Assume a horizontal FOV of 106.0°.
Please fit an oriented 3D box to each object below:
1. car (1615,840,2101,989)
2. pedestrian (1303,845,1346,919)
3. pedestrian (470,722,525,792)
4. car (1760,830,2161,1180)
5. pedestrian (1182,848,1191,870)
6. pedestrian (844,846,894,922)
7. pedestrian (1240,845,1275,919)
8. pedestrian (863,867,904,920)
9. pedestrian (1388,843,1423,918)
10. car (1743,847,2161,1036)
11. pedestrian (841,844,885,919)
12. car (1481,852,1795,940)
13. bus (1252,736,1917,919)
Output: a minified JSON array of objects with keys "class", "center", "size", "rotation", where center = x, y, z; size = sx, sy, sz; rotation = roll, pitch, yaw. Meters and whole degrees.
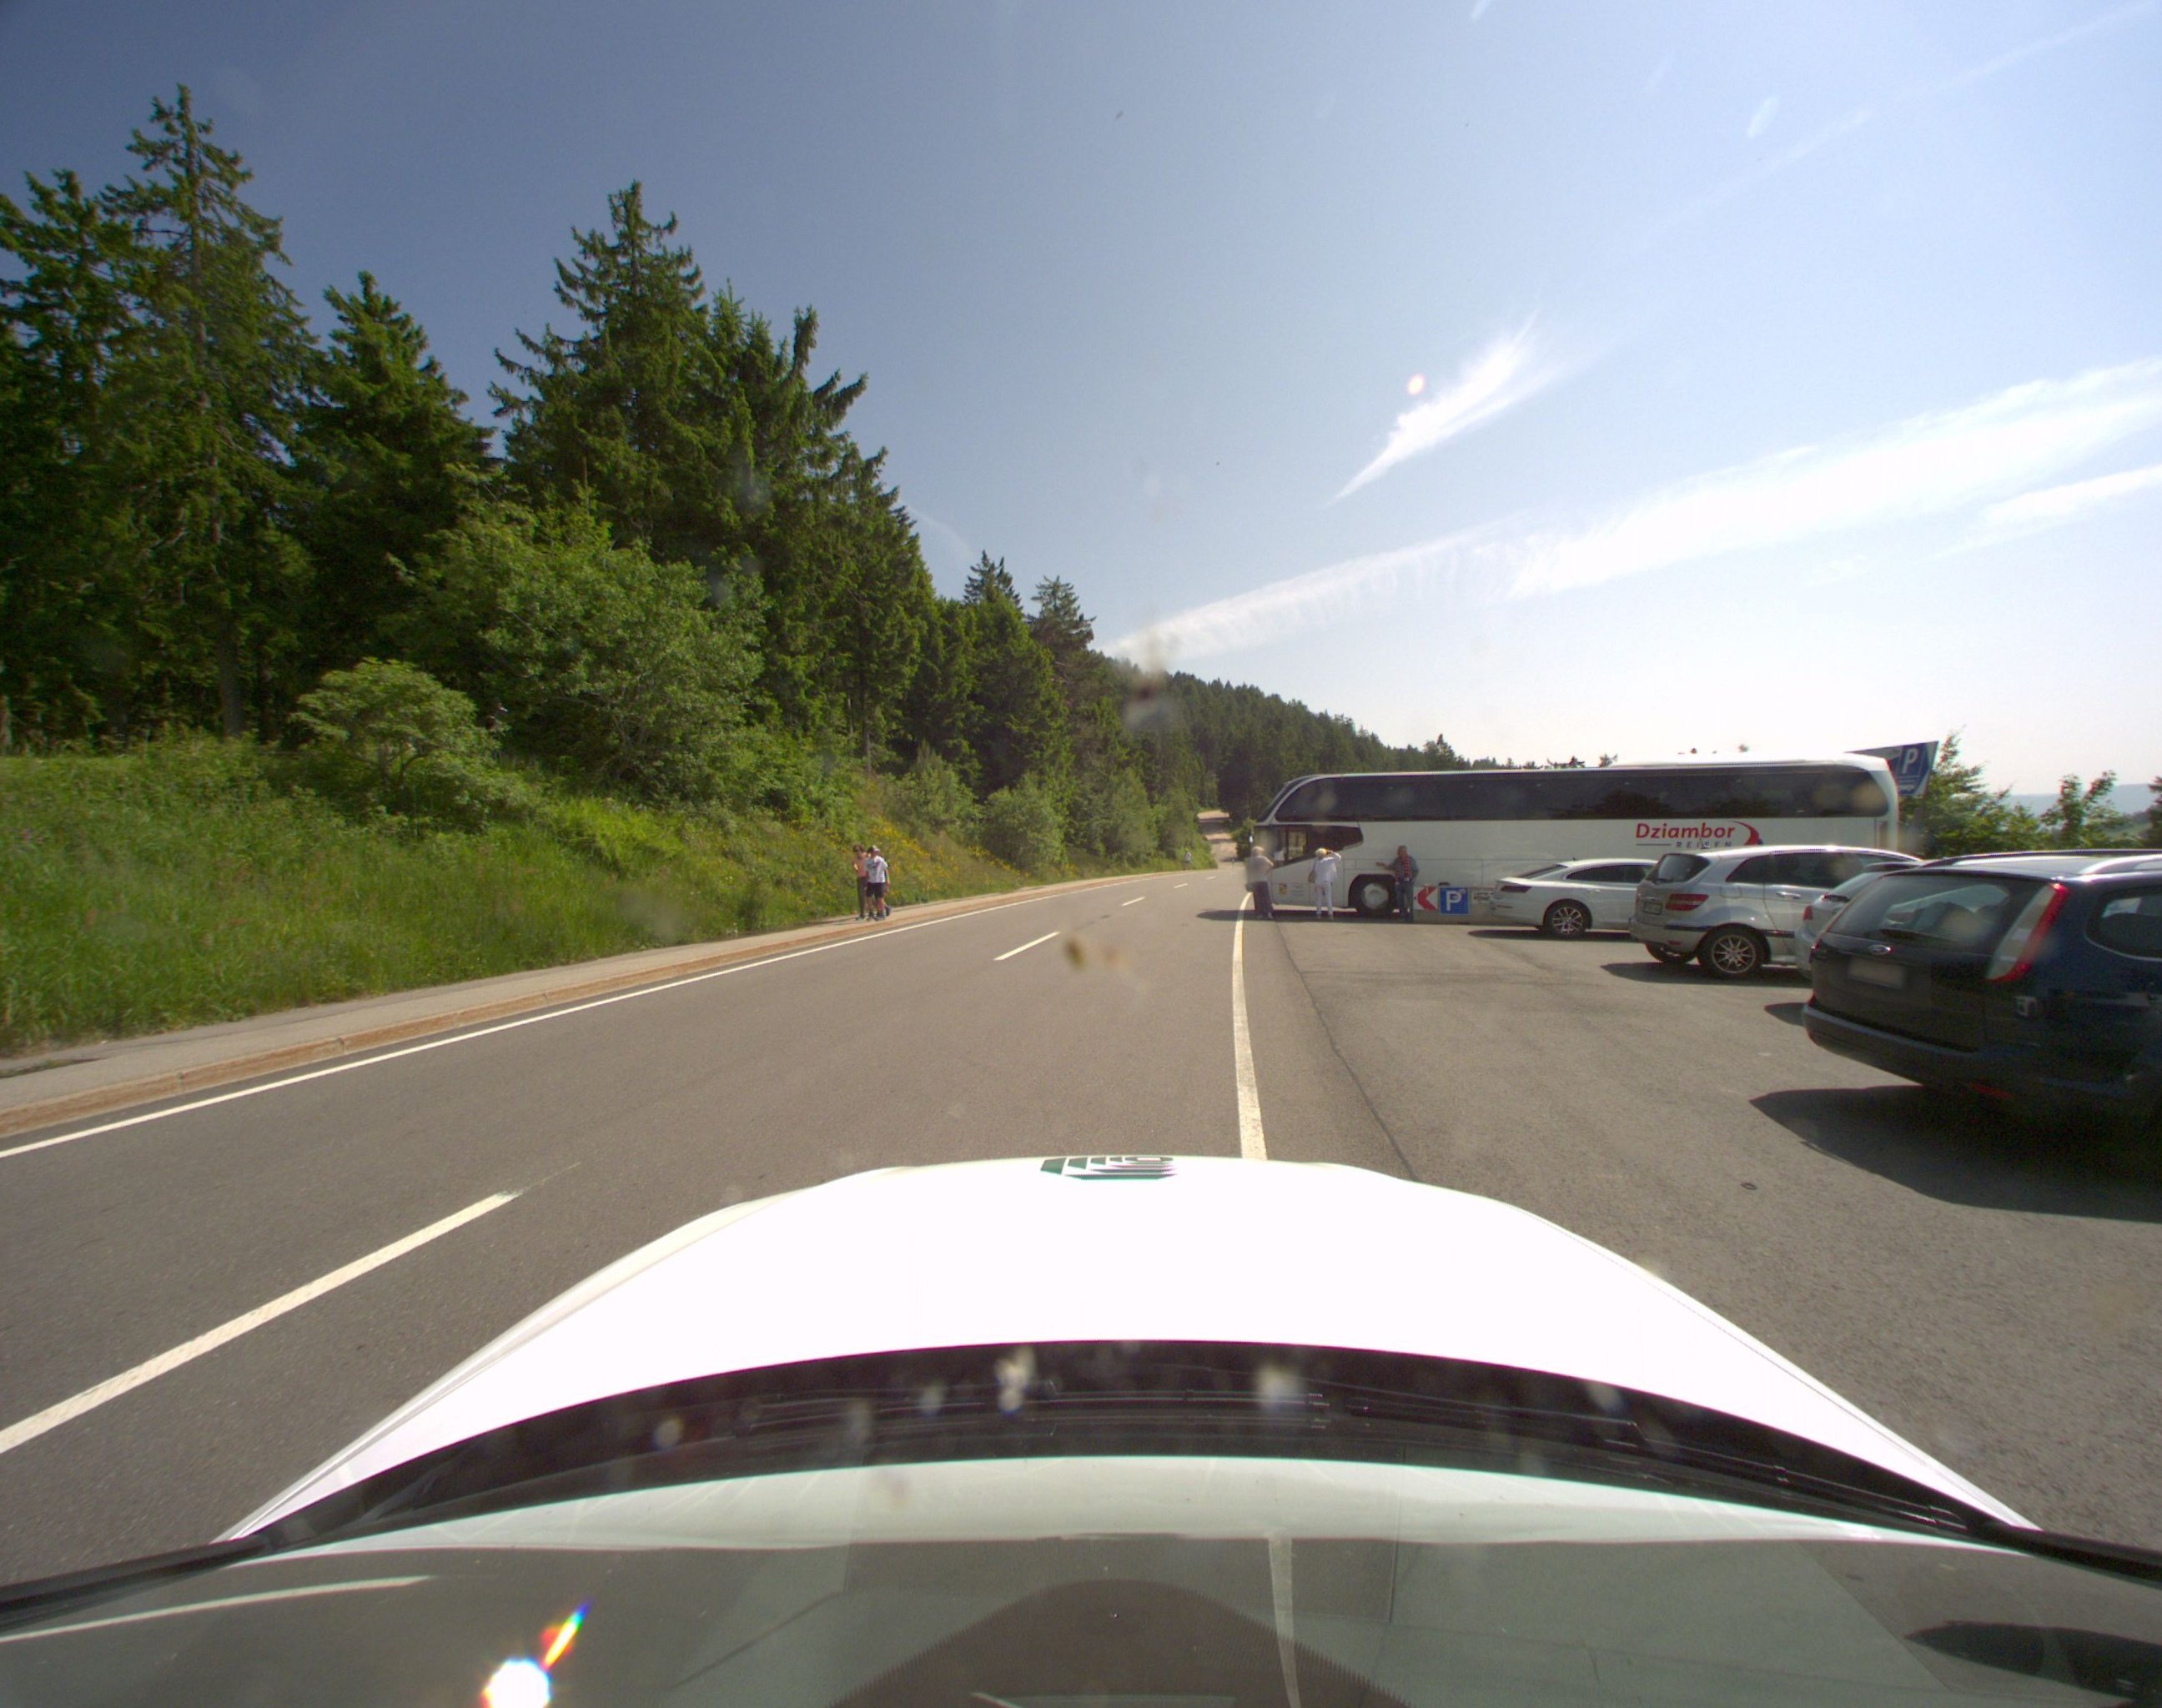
[{"class":"car","center":[9.113,0.633,9.967],"size":[3.958,1.574,1.774],"rotation":[0,0,14]},{"class":"pedestrian","center":[5.494,0.617,18.389],"size":[0.638,1.596,0.749],"rotation":[-1,0,42]},{"class":"pedestrian","center":[-14.562,-2.407,20.330],"size":[0.805,1.629,0.743],"rotation":[-1,0,5]},{"class":"car","center":[6.276,0.653,4.086],"size":[4.100,1.544,1.679],"rotation":[0,1,14]},{"class":"pedestrian","center":[8.474,0.382,65.176],"size":[0.678,1.746,0.827],"rotation":[0,0,10]},{"class":"pedestrian","center":[-4.422,0.608,17.005],"size":[0.575,1.537,0.884],"rotation":[-1,0,19]},{"class":"pedestrian","center":[4.068,0.633,18.833],"size":[0.703,1.643,0.746],"rotation":[-1,0,7]},{"class":"pedestrian","center":[-4.344,0.859,17.929],"size":[0.565,1.102,0.747],"rotation":[-1,0,12]},{"class":"pedestrian","center":[7.250,0.579,18.205],"size":[0.639,1.643,0.748],"rotation":[-1,0,17]},{"class":"car","center":[8.503,0.668,7.025],"size":[3.958,1.420,1.774],"rotation":[1,0,14]},{"class":"pedestrian","center":[-4.917,0.607,18.401],"size":[0.572,1.643,0.897],"rotation":[-1,0,12]},{"class":"car","center":[9.763,0.683,14.705],"size":[4.387,1.396,1.727],"rotation":[0,0,19]},{"class":"bus","center":[10.652,-0.453,19.117],"size":[12.746,3.577,2.852],"rotation":[-1,0,17]}]
